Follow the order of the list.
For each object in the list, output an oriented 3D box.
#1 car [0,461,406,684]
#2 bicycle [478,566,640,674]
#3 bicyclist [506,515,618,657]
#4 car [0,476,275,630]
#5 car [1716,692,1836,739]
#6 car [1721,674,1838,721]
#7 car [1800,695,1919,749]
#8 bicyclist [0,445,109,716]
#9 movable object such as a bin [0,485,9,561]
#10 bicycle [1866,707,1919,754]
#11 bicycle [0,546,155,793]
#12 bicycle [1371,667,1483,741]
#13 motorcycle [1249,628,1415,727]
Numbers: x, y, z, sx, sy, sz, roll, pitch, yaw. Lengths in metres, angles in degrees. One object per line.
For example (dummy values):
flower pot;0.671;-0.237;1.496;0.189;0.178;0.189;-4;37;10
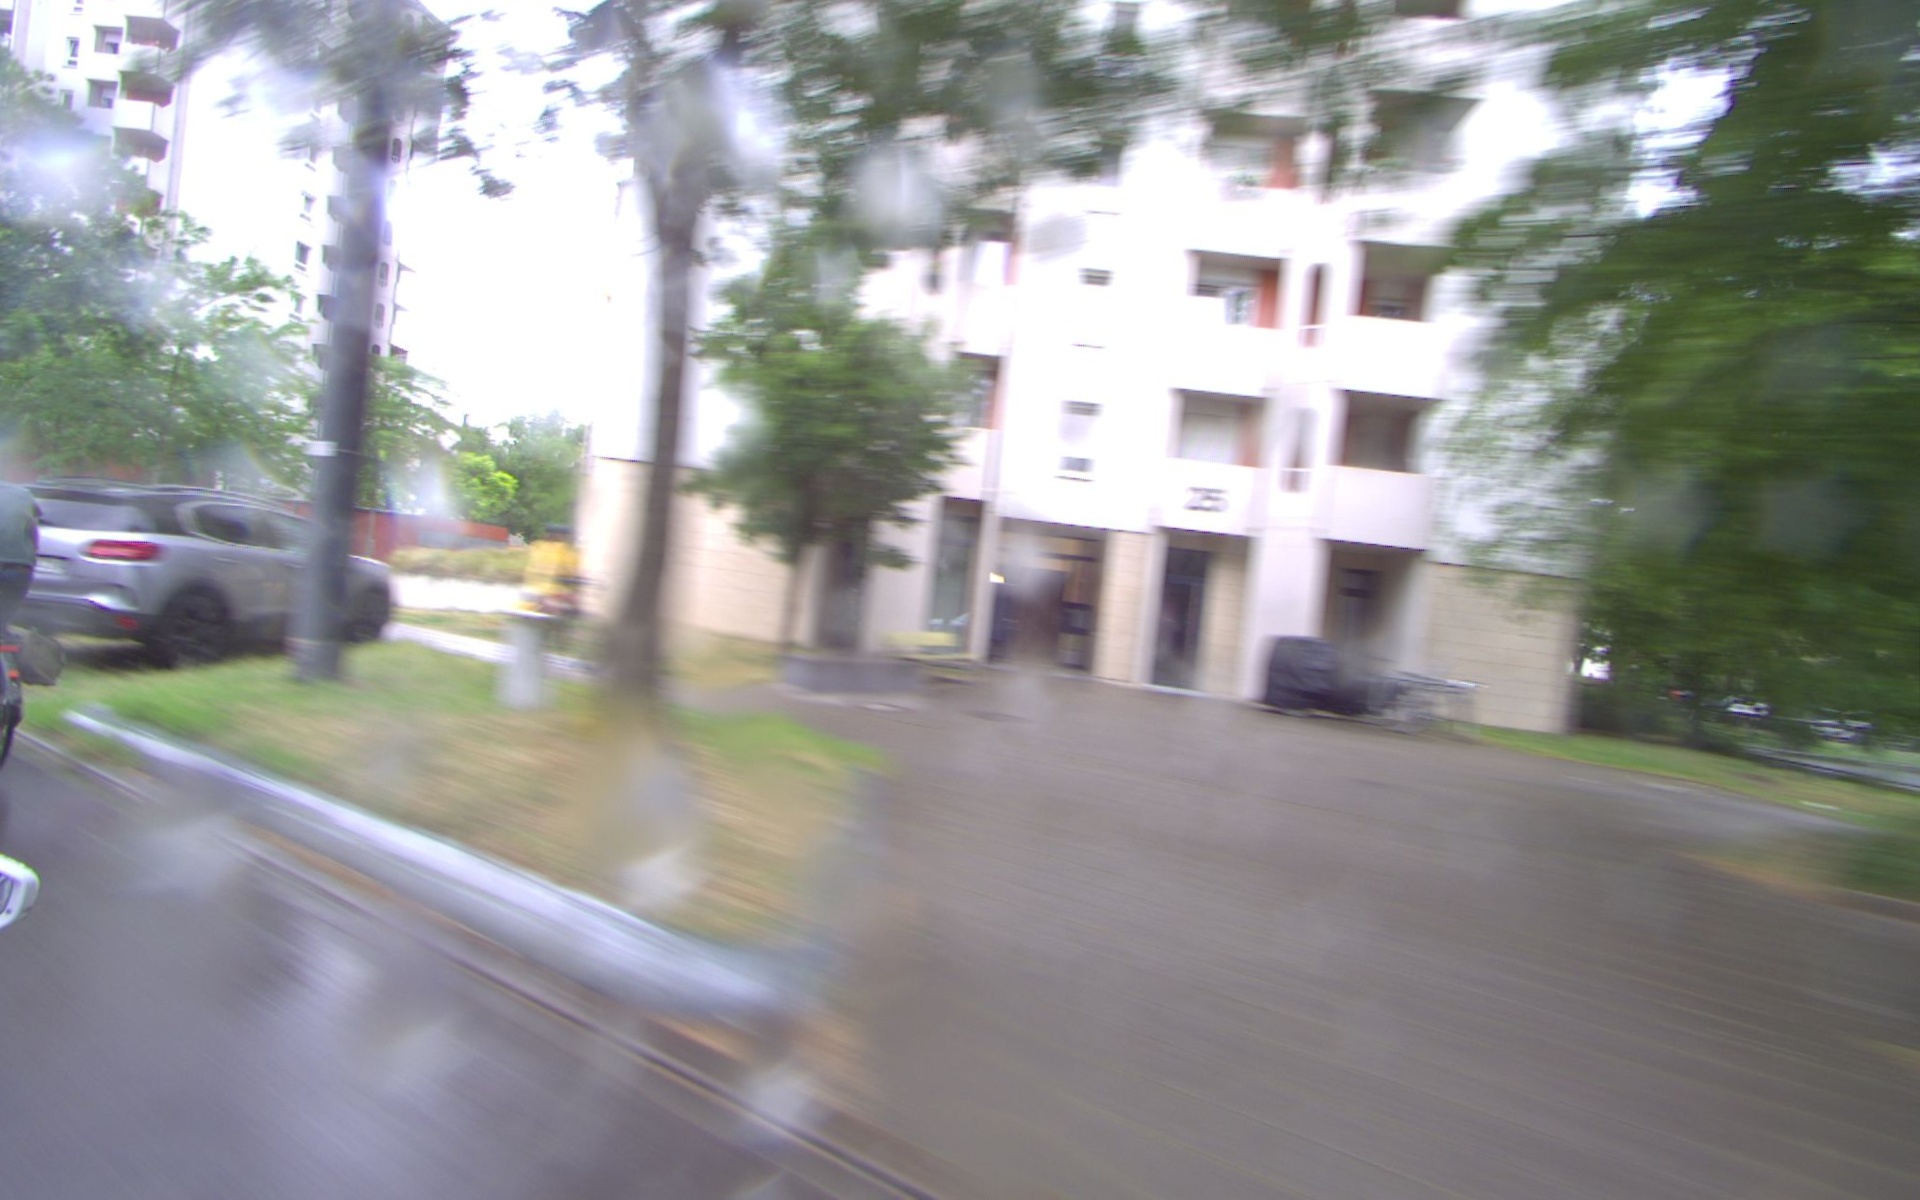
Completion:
car;-7.975;-0.359;10.471;1.963;1.742;4.143;6;3;1
bicycle;-4.935;0.230;12.323;2.017;1.070;0.735;7;1;32
bicyclist;-4.858;-0.166;12.280;0.929;1.614;0.735;7;2;32
car;-10.801;-0.631;12.726;1.701;1.588;3.880;6;2;-4
car;39.210;5.544;48.439;3.924;1.587;1.981;7;-2;12
car;41.751;4.948;51.344;4.170;1.699;1.885;7;0;5
car;38.954;5.256;43.053;4.170;1.699;1.885;7;0;5
bicyclist;-5.559;-0.146;5.653;1.042;1.451;0.810;7;2;30
movable object such as a bin;-19.956;-1.611;19.860;1.068;1.540;1.247;6;2;5
bicycle;38.911;5.385;40.155;3.923;1.652;1.179;7;0;11
bicycle;-5.636;0.280;5.681;2.474;1.111;0.810;7;1;30
bicycle;7.103;1.581;15.321;1.439;0.937;0.408;6;1;-5
motorcycle;6.052;1.256;16.456;2.262;1.305;0.884;6;1;-5
